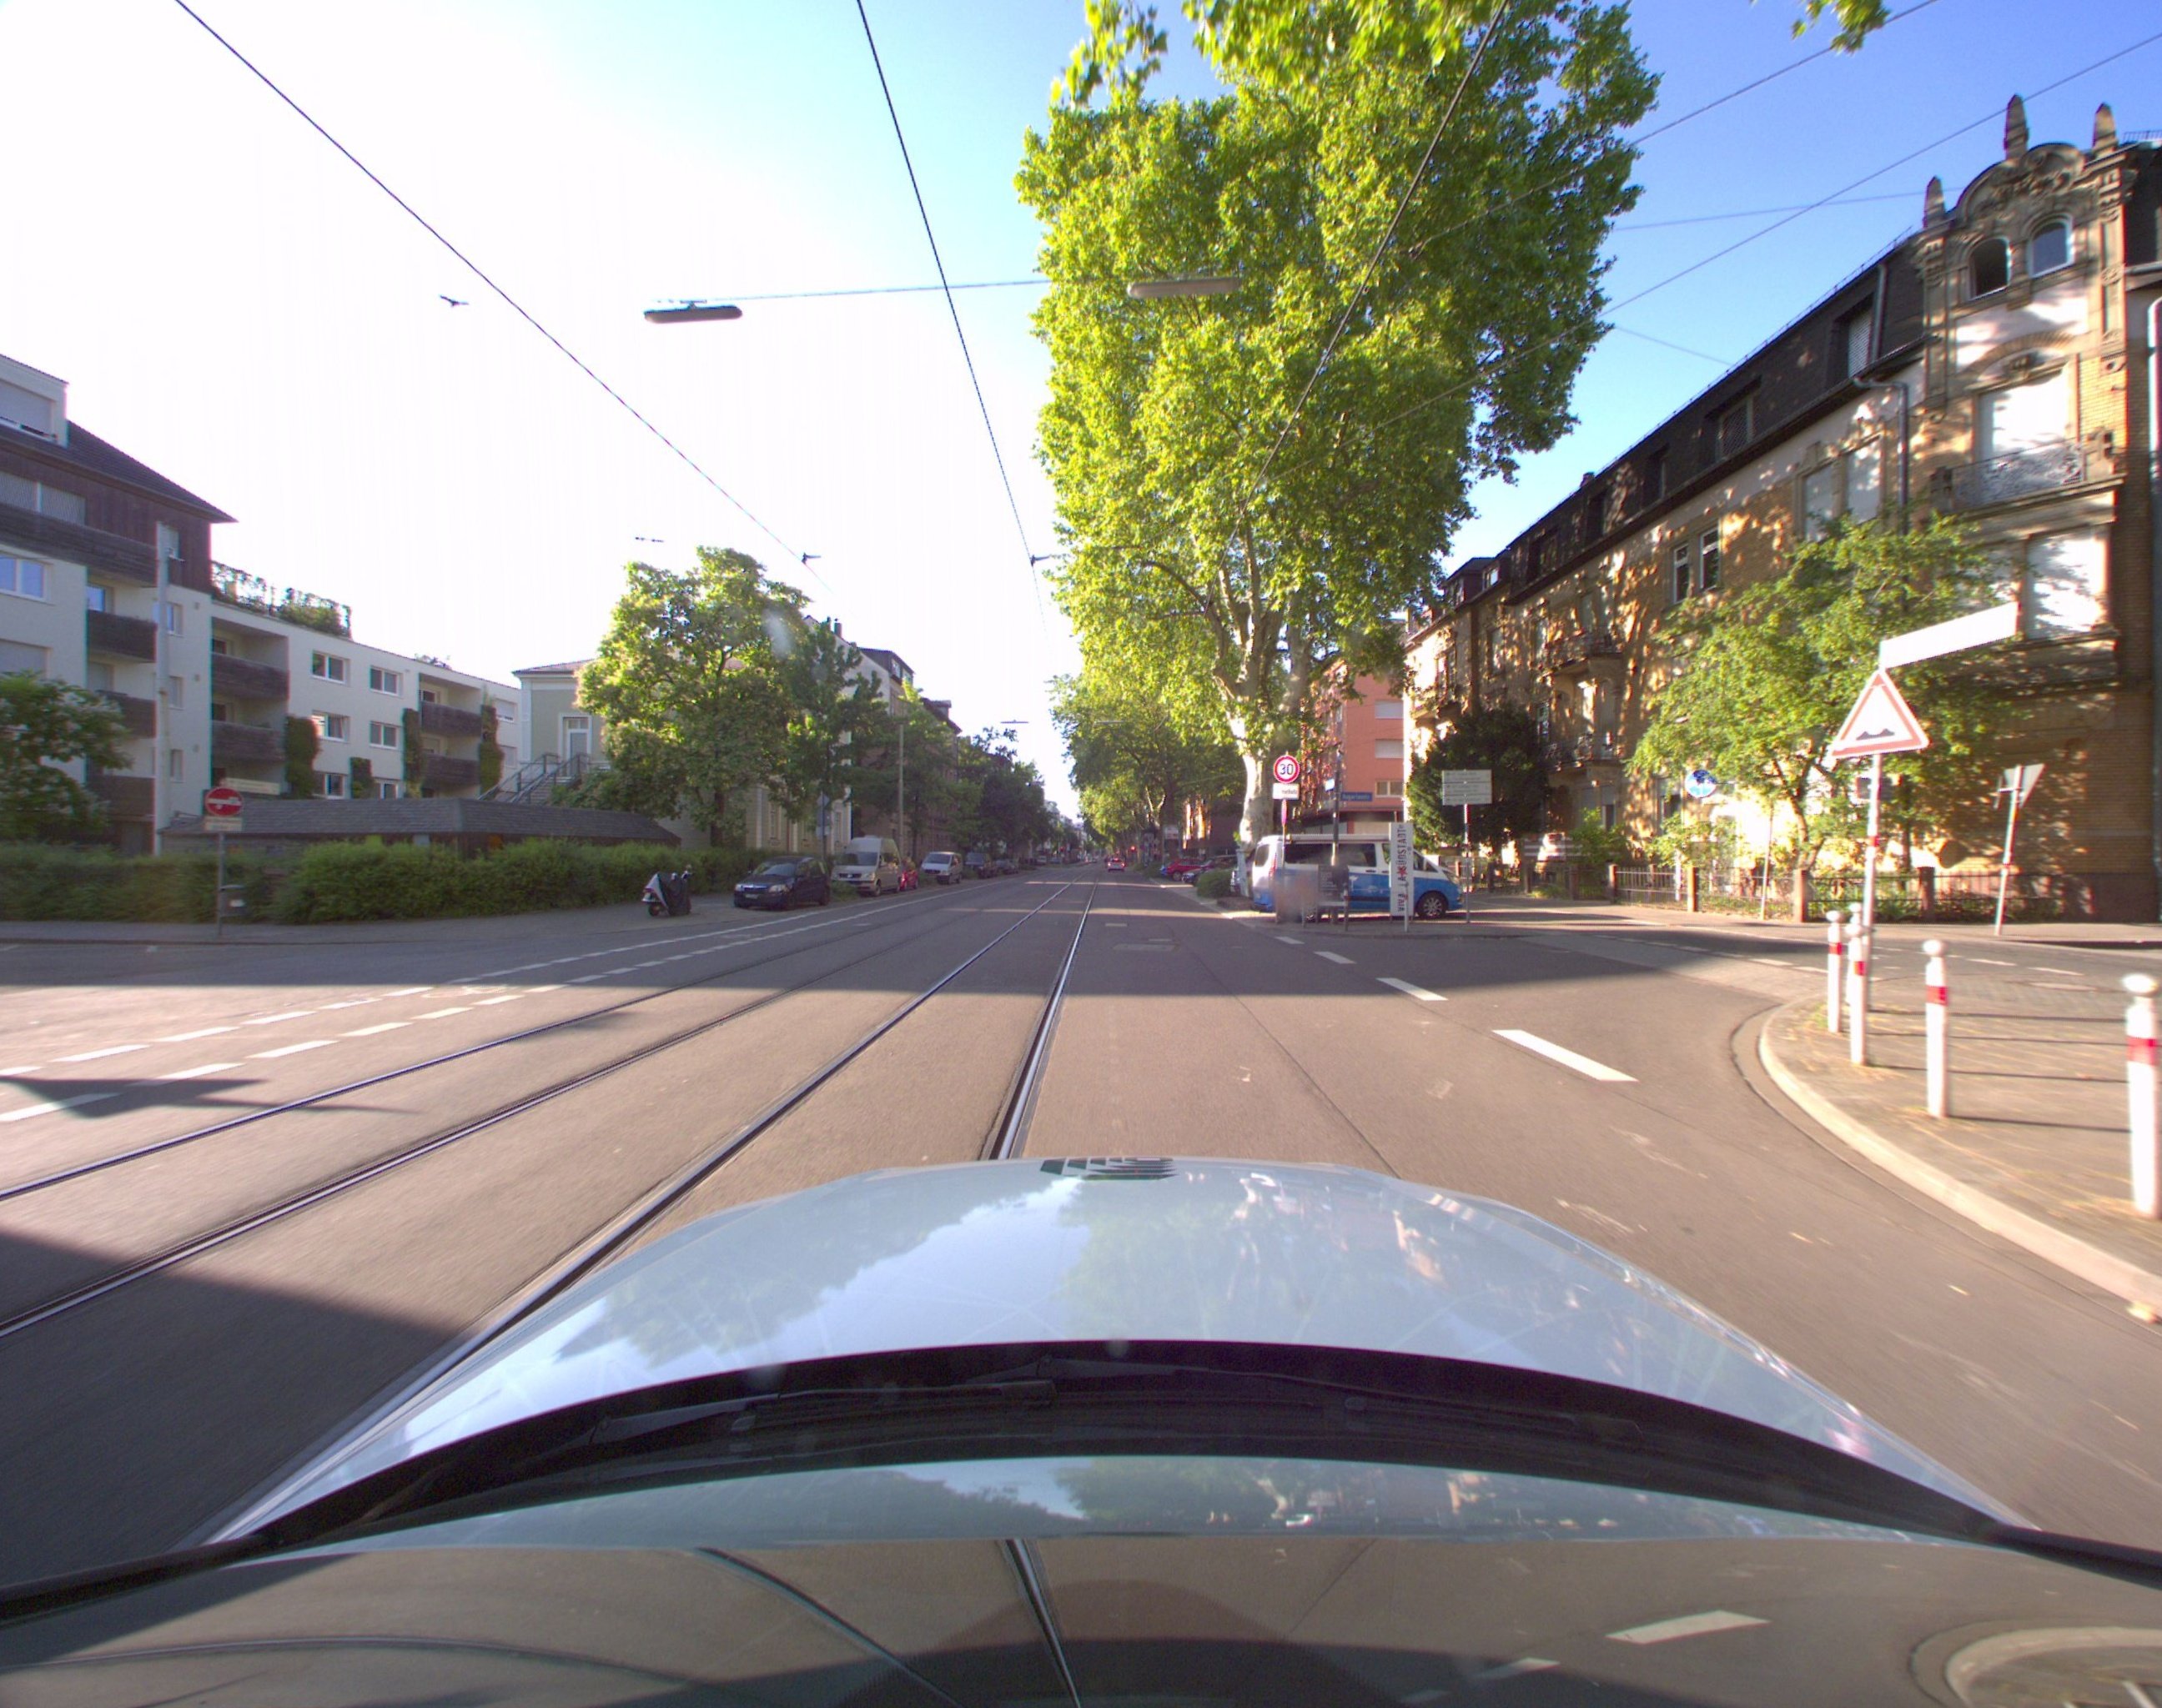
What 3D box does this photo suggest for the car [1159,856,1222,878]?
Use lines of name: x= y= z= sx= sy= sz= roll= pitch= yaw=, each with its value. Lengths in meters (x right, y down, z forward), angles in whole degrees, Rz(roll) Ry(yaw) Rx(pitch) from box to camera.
car: x=7.803 y=0.920 z=58.065 sx=4.378 sy=1.543 sz=1.822 roll=0 pitch=0 yaw=8

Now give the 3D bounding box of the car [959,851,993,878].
car: x=-8.142 y=0.814 z=63.781 sx=1.987 sy=2.013 sz=4.834 roll=0 pitch=0 yaw=0

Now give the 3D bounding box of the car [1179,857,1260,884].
car: x=7.588 y=0.884 z=44.898 sx=4.185 sy=1.448 sz=1.818 roll=0 pitch=0 yaw=1

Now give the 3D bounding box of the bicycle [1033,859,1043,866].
bicycle: x=-7.301 y=1.378 z=138.481 sx=1.528 sy=1.075 sz=0.885 roll=3 pitch=0 yaw=0

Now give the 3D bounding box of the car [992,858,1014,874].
car: x=-7.576 y=1.128 z=79.155 sx=1.652 sy=1.445 sz=3.950 roll=0 pitch=0 yaw=1

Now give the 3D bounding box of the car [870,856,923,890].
car: x=-8.977 y=0.895 z=39.943 sx=1.679 sy=1.539 sz=3.708 roll=0 pitch=0 yaw=1

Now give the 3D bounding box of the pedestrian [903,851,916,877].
pedestrian: x=-11.392 y=0.663 z=53.999 sx=0.602 sy=1.662 sz=0.948 roll=1 pitch=0 yaw=3

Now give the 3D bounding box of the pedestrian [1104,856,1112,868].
pedestrian: x=3.837 y=1.140 z=116.051 sx=0.992 sy=1.811 sz=0.863 roll=-1 pitch=0 yaw=-4

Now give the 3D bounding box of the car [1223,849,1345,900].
car: x=7.052 y=0.709 z=28.539 sx=3.770 sy=1.619 sz=1.790 roll=-2 pitch=0 yaw=-1

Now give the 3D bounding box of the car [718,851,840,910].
car: x=-9.314 y=0.757 z=25.534 sx=1.983 sy=1.690 sz=4.266 roll=0 pitch=0 yaw=4

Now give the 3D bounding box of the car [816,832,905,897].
car: x=-9.169 y=0.404 z=34.479 sx=2.296 sy=2.508 sz=5.343 roll=0 pitch=0 yaw=0

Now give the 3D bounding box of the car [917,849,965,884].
car: x=-8.429 y=0.732 z=49.439 sx=1.836 sy=1.989 sz=4.991 roll=0 pitch=0 yaw=2

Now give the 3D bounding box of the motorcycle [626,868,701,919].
motorcycle: x=-10.785 y=0.988 z=21.134 sx=0.670 sy=1.139 sz=2.152 roll=3 pitch=2 yaw=4

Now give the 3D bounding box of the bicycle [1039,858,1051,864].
bicycle: x=-7.107 y=1.360 z=160.979 sx=2.244 sy=1.074 sz=0.637 roll=3 pitch=0 yaw=2

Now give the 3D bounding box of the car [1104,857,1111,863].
car: x=6.683 y=1.516 z=208.241 sx=1.782 sy=1.513 sz=4.001 roll=0 pitch=0 yaw=1

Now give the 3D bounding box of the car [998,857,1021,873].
car: x=-7.410 y=1.140 z=84.720 sx=1.692 sy=1.550 sz=4.542 roll=0 pitch=0 yaw=5

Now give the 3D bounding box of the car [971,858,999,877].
car: x=-8.090 y=1.124 z=68.950 sx=1.847 sy=1.458 sz=4.270 roll=0 pitch=0 yaw=0

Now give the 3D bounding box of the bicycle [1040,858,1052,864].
bicycle: x=-7.012 y=1.396 z=164.557 sx=2.244 sy=1.074 sz=0.637 roll=3 pitch=0 yaw=2

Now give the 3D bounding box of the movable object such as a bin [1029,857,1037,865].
movable object such as a bin: x=-8.006 y=1.195 z=136.422 sx=1.167 sy=1.348 sz=0.782 roll=3 pitch=-1 yaw=-3

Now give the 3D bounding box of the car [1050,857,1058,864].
car: x=-6.057 y=1.411 z=182.049 sx=1.587 sy=1.548 sz=4.001 roll=2 pitch=0 yaw=1

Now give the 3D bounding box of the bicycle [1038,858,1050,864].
bicycle: x=-7.146 y=1.357 z=157.281 sx=2.244 sy=1.074 sz=0.637 roll=3 pitch=0 yaw=2

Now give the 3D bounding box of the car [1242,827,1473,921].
car: x=6.607 y=0.461 z=19.871 sx=4.833 sy=2.013 sz=2.193 roll=-2 pitch=0 yaw=-2

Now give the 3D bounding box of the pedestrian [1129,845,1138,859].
pedestrian: x=7.378 y=-0.317 z=114.461 sx=0.980 sy=1.864 sz=1.014 roll=-4 pitch=0 yaw=-4

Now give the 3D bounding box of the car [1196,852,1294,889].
car: x=7.560 y=0.753 z=37.782 sx=4.188 sy=1.619 sz=1.877 roll=0 pitch=0 yaw=-2

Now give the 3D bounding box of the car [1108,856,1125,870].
car: x=3.800 y=0.940 z=86.928 sx=1.782 sy=1.513 sz=4.001 roll=0 pitch=0 yaw=1

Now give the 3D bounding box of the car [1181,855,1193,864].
car: x=17.792 y=0.976 z=137.400 sx=1.595 sy=1.495 sz=3.417 roll=0 pitch=0 yaw=0

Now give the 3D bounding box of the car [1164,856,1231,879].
car: x=7.919 y=0.905 z=55.778 sx=4.384 sy=1.543 sz=1.954 roll=0 pitch=0 yaw=3
